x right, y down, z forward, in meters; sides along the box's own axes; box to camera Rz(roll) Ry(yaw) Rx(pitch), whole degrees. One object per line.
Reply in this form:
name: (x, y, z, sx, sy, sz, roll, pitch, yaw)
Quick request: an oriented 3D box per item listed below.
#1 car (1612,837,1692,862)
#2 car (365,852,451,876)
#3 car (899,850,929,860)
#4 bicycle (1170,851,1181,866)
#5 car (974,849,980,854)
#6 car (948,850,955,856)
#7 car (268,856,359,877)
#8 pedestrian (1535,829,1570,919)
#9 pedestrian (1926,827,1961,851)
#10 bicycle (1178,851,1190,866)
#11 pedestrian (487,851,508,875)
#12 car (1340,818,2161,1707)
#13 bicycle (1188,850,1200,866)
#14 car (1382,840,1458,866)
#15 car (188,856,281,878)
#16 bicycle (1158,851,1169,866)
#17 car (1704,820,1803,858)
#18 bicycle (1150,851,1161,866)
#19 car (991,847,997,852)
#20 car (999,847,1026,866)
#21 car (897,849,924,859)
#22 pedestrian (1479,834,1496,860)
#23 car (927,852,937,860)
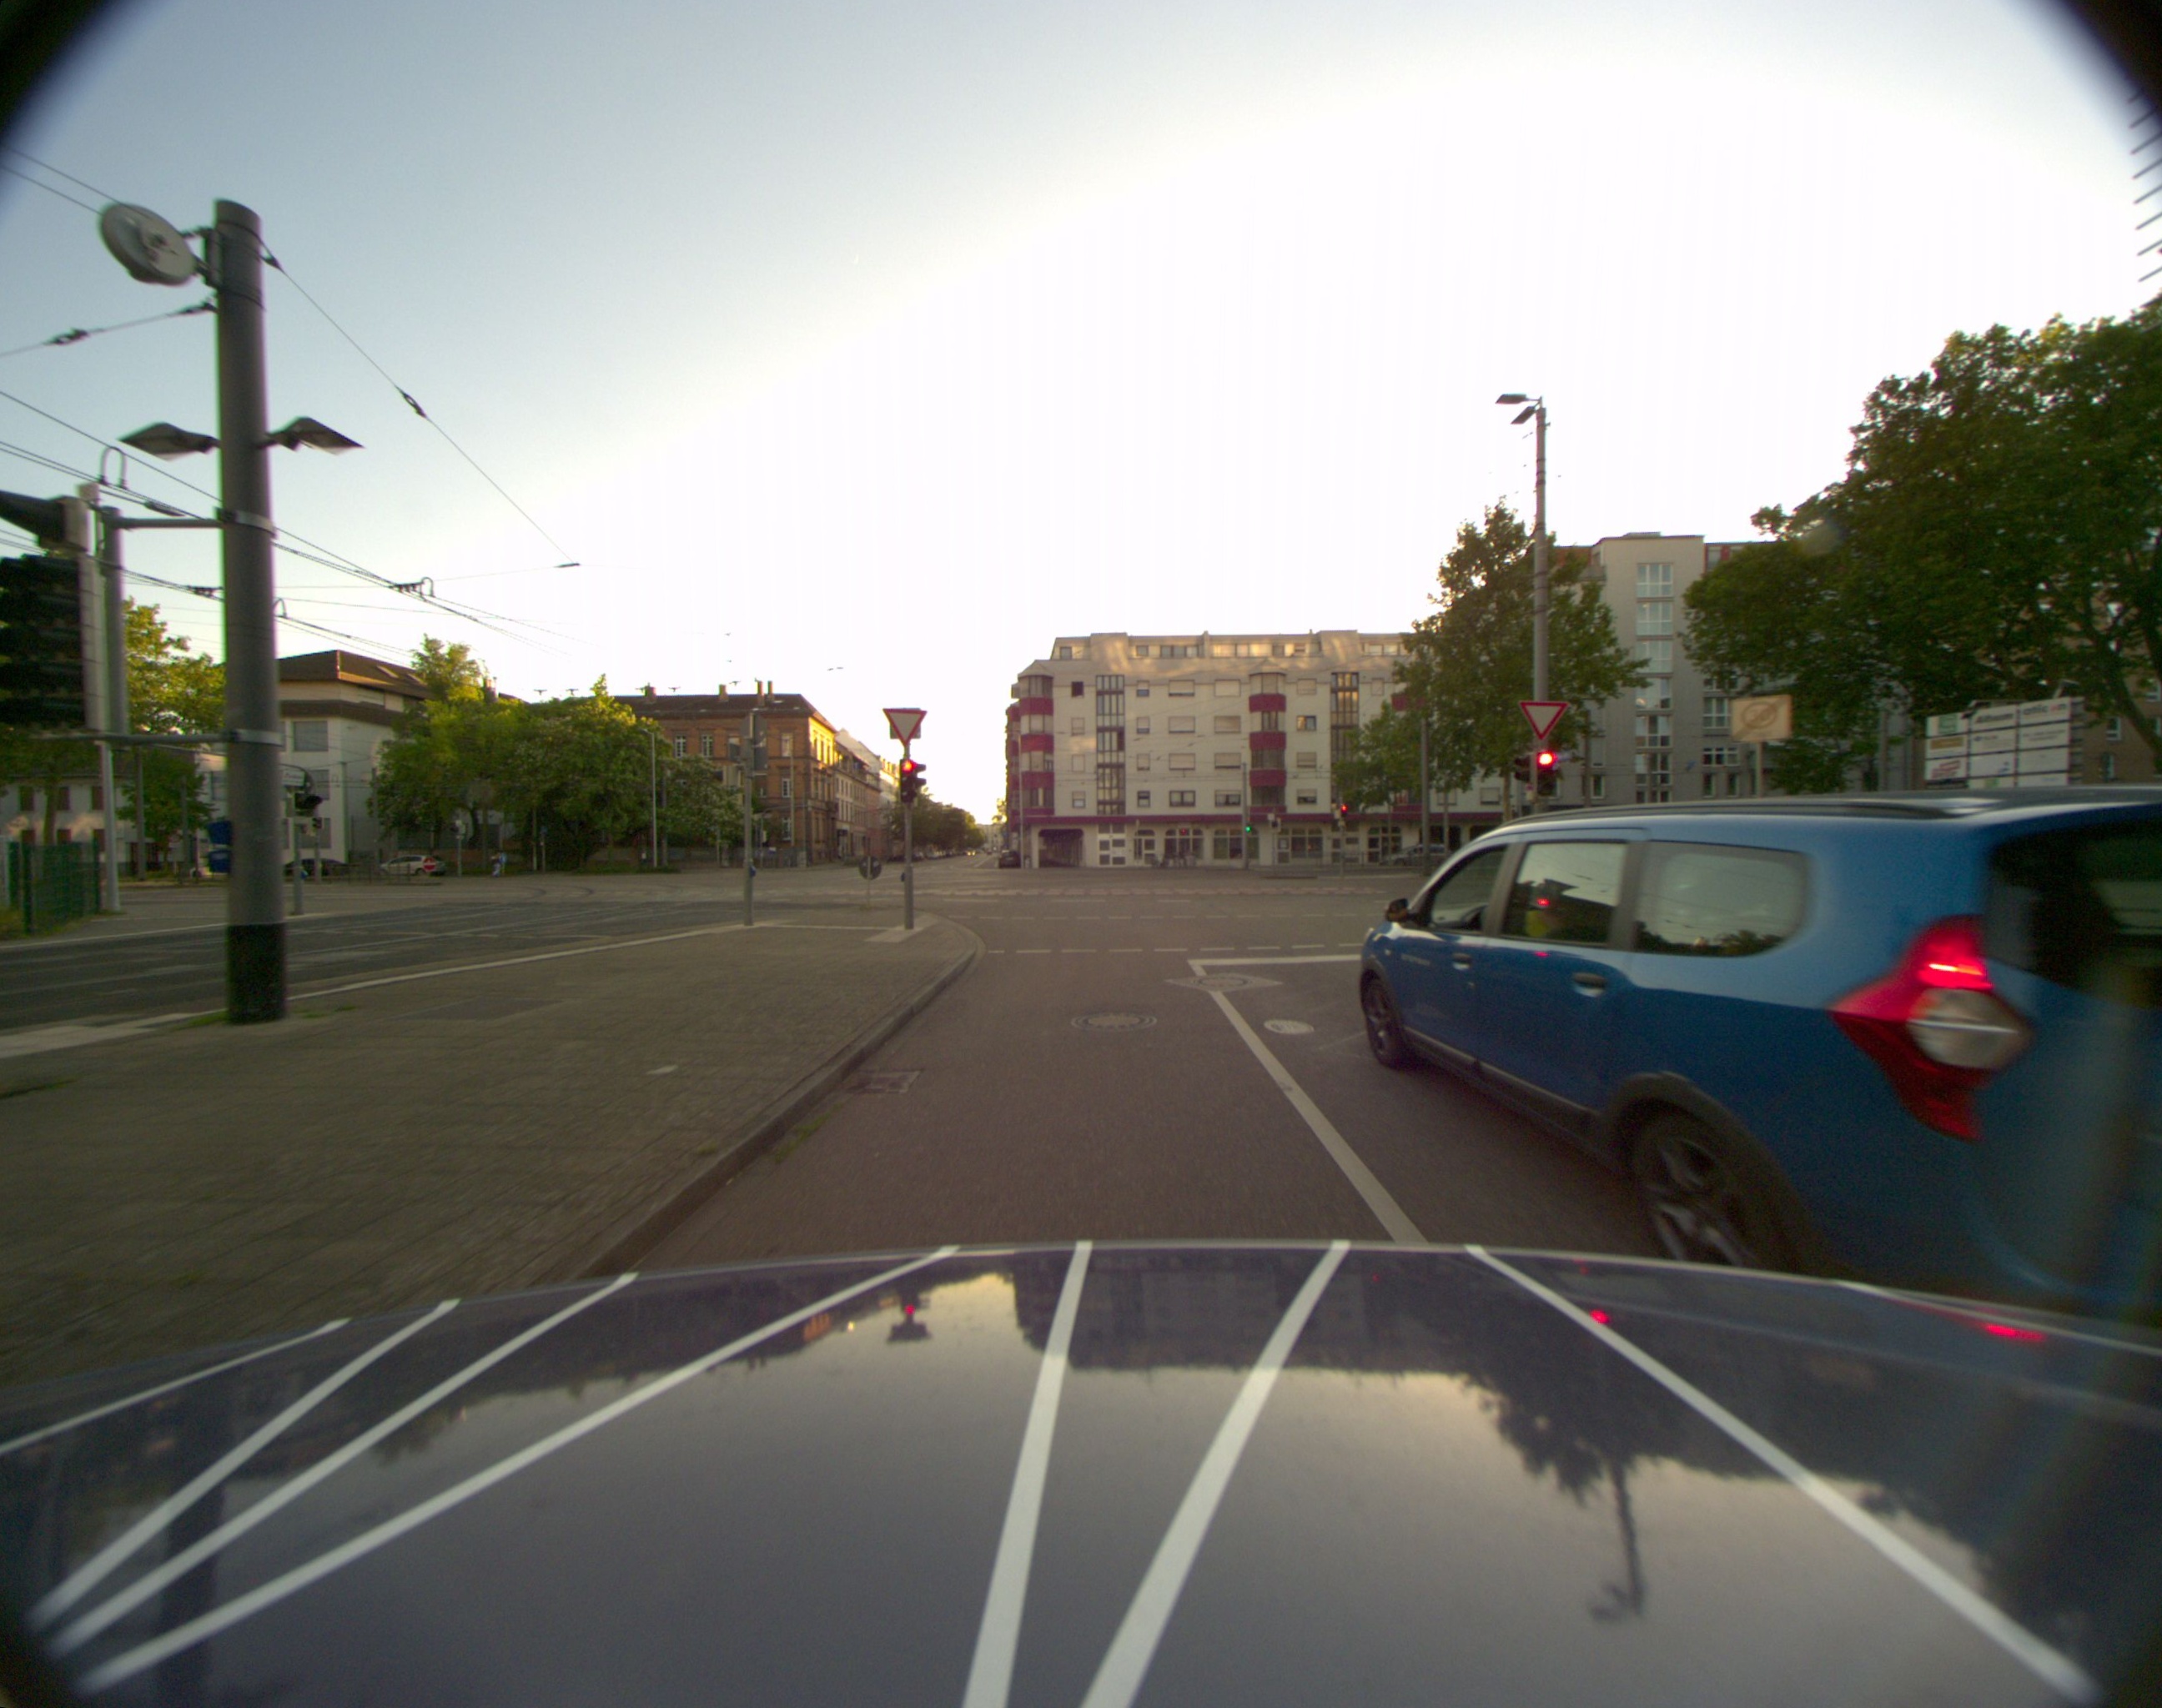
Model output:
car: (38.449, -0.291, 51.197, 4.098, 1.587, 1.666, -1, 1, 2)
car: (-47.617, 0.690, 53.800, 4.229, 1.623, 2.000, -1, 1, -1)
car: (-27.197, 0.134, 123.816, 4.706, 1.477, 1.905, -1, 1, -10)
bicycle: (6.649, 0.288, 53.637, 0.515, 1.040, 1.902, -1, 1, -1)
car: (-32.416, -0.877, 237.288, 1.786, 1.448, 4.294, -1, 1, -7)
car: (-32.903, -0.349, 193.468, 1.787, 1.427, 4.293, -1, 1, -10)
car: (-54.187, 0.877, 53.719, 4.357, 1.416, 2.000, -1, 1, -1)
pedestrian: (9.115, 0.373, 14.714, 0.545, 1.691, 0.709, 0, 1, 29)
pedestrian: (51.436, -0.883, 45.324, 0.997, 1.445, 0.938, -1, 1, 1)
bicycle: (7.248, 0.283, 53.595, 0.515, 1.040, 1.902, -1, 1, -1)
pedestrian: (-36.805, 0.569, 47.938, 0.579, 1.517, 0.817, -1, 1, 5)
car: (2.746, 0.732, 3.506, 1.752, 1.668, 4.273, -2, 1, 2)
bicycle: (7.902, 0.278, 53.346, 0.515, 1.040, 1.902, -1, 1, -1)
car: (21.479, -0.088, 48.292, 4.098, 1.587, 1.666, -1, 1, 2)
car: (-59.835, 0.917, 53.762, 4.229, 1.416, 2.000, -1, 1, -1)
bicycle: (5.798, 0.302, 53.569, 0.515, 1.040, 1.902, -1, 1, -1)
car: (46.583, -1.006, 52.699, 5.077, 2.526, 1.852, -1, 1, 2)
bicycle: (5.223, 0.326, 53.542, 0.515, 1.040, 1.902, -1, 1, -1)
car: (-29.365, -1.557, 255.694, 1.787, 1.448, 4.293, -1, 1, -8)
car: (-5.712, 0.190, 63.755, 2.007, 1.448, 4.295, -1, 1, -3)
car: (-25.948, -0.004, 115.739, 3.775, 1.477, 1.905, -1, 1, -10)
pedestrian: (29.056, -0.491, 54.328, 0.835, 1.796, 0.692, -1, 1, 3)
car: (-29.073, 0.429, 147.936, 1.787, 1.448, 4.293, -1, 1, -10)
